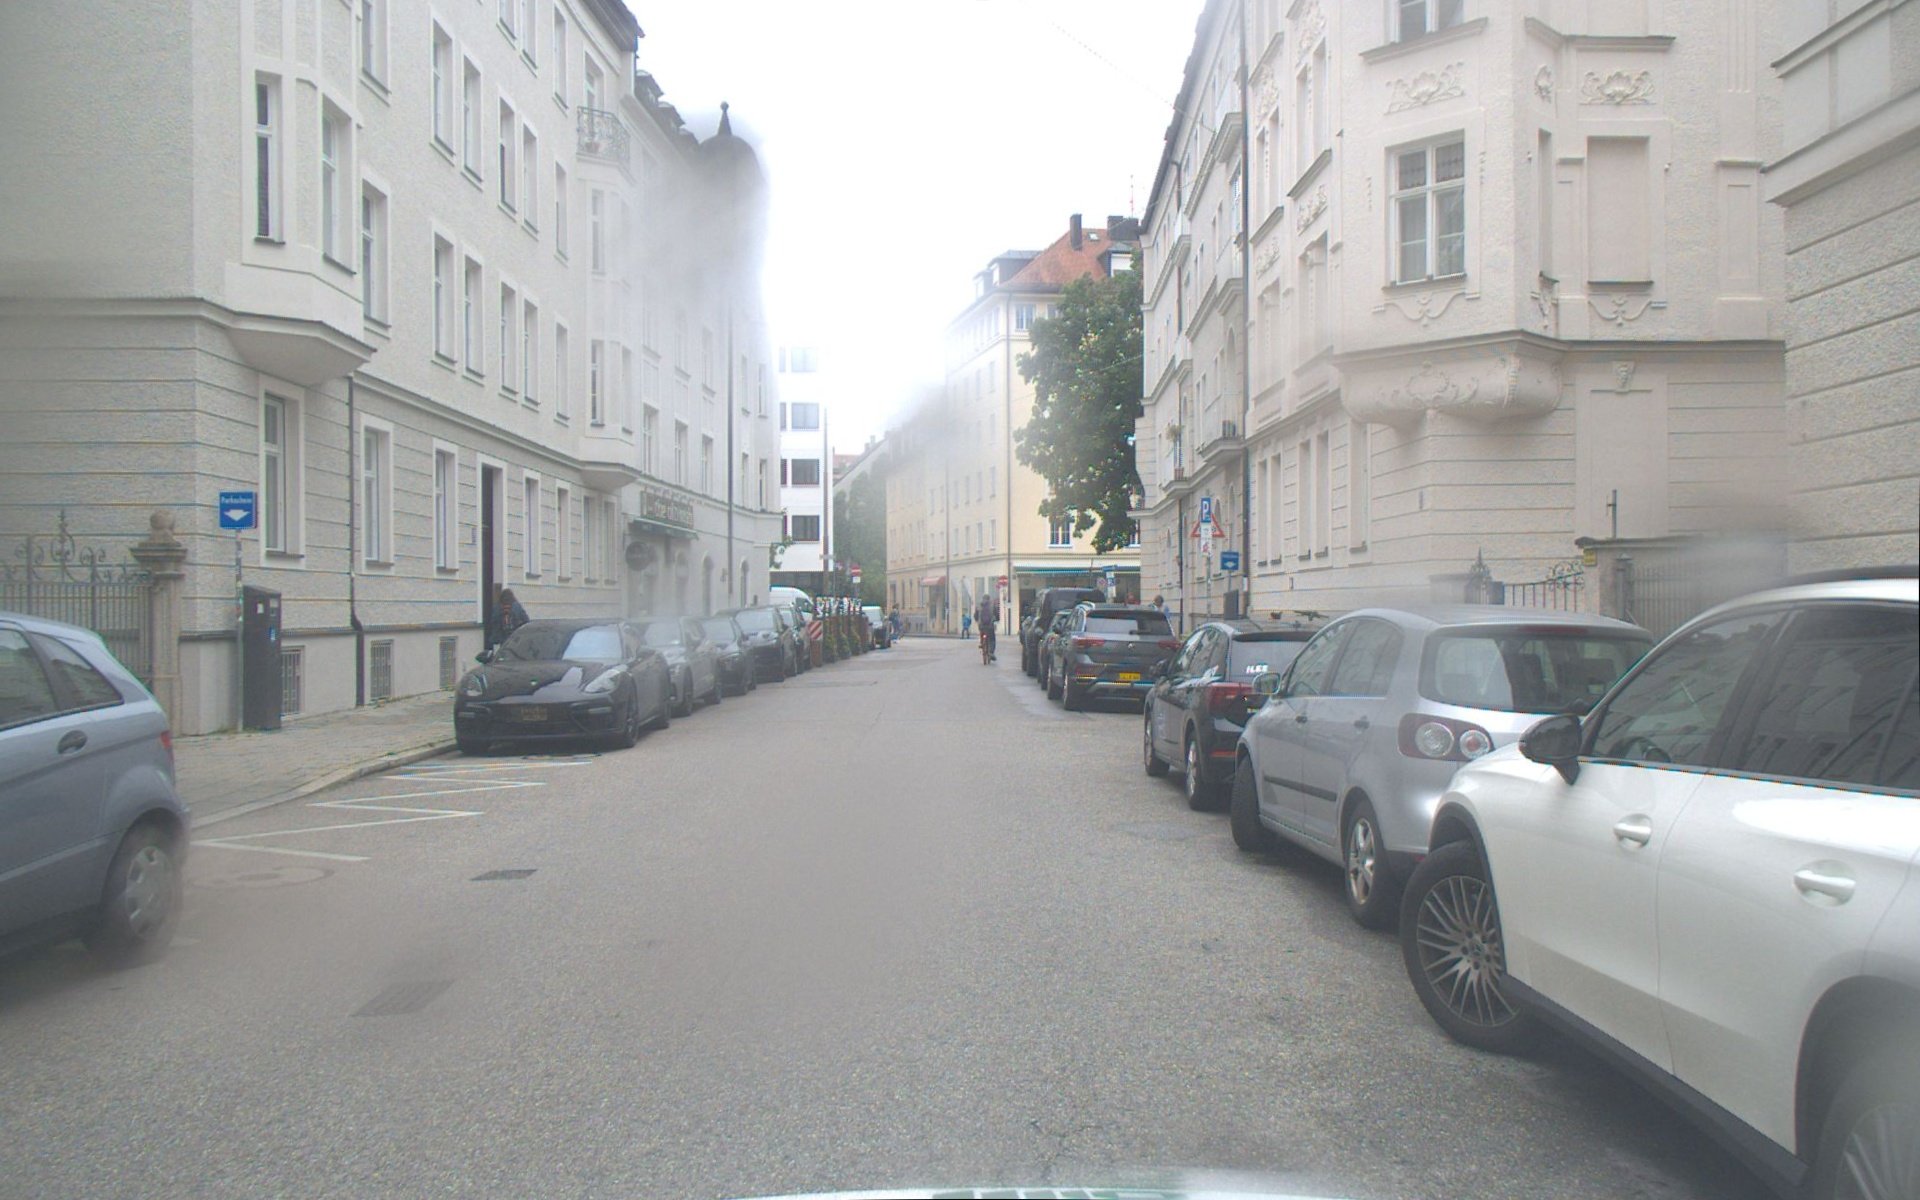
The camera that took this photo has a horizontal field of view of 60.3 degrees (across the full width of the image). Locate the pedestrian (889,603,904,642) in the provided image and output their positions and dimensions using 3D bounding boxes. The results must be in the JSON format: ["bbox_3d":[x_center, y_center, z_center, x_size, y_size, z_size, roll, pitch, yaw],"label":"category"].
[{"bbox_3d":[-2.764,0.981,72.229,0.598,1.690,0.551,-1,-1,4],"label":"pedestrian"}]

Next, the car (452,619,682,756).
[{"bbox_3d":[-4.534,0.945,19.794,1.812,1.391,4.699,-1,0,-3],"label":"car"}]

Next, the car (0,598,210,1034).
[{"bbox_3d":[-4.409,0.844,5.776,1.662,1.608,4.061,-3,0,0],"label":"car"}]

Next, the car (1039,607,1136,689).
[{"bbox_3d":[2.352,0.872,31.171,1.629,1.420,3.582,1,-1,2],"label":"car"}]

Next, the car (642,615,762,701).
[{"bbox_3d":[-4.721,1.015,30.781,1.775,1.409,4.440,-2,0,-4],"label":"car"}]

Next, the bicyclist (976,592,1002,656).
[{"bbox_3d":[0.752,0.625,42.854,0.593,1.635,0.758,-1,0,4],"label":"bicyclist"}]

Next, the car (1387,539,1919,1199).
[{"bbox_3d":[2.562,0.706,4.191,1.856,1.665,4.391,-1,0,1],"label":"car"}]

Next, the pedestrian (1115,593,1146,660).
[{"bbox_3d":[4.591,0.705,44.592,0.689,1.758,0.703,-2,-1,-3],"label":"pedestrian"}]

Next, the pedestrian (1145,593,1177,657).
[{"bbox_3d":[5.473,0.682,45.069,0.666,1.703,0.654,-3,0,-3],"label":"pedestrian"}]

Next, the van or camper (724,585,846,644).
[{"bbox_3d":[-8.519,0.723,80.328,5.794,2.724,1.869,-1,-2,-8],"label":"van or camper"}]

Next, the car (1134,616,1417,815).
[{"bbox_3d":[2.531,0.870,14.150,1.579,1.419,3.999,1,0,-1],"label":"car"}]

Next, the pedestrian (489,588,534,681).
[{"bbox_3d":[-8.497,0.641,31.351,0.683,1.737,0.665,0,-1,-3],"label":"pedestrian"}]

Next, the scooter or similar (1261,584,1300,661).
[{"bbox_3d":[5.641,0.389,29.150,0.529,1.310,1.504,-3,-1,7],"label":"scooter or similar"}]

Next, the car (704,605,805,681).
[{"bbox_3d":[-4.356,0.877,35.580,1.706,1.513,4.180,-1,0,-1],"label":"car"}]

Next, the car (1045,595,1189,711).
[{"bbox_3d":[2.321,0.752,25.382,1.673,1.615,3.998,1,0,-2],"label":"car"}]

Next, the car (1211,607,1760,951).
[{"bbox_3d":[2.665,0.815,9.404,1.674,1.527,3.997,0,-1,-3],"label":"car"}]

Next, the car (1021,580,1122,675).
[{"bbox_3d":[2.416,0.594,36.975,1.872,1.918,4.713,2,0,0],"label":"car"}]

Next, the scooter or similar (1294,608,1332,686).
[{"bbox_3d":[6.206,0.815,29.109,0.496,1.310,1.352,-3,-1,8],"label":"scooter or similar"}]

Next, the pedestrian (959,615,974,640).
[{"bbox_3d":[0.343,1.453,86.722,0.684,1.293,0.651,-1,-1,4],"label":"pedestrian"}]

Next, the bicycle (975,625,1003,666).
[{"bbox_3d":[0.759,1.172,42.823,0.626,1.022,1.575,-1,-1,4],"label":"bicycle"}]

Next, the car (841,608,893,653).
[{"bbox_3d":[-3.581,1.192,64.304,1.642,1.625,3.945,-3,-1,1],"label":"car"}]

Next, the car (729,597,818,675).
[{"bbox_3d":[-4.508,0.848,40.466,1.711,1.702,4.274,-4,0,-1],"label":"car"}]

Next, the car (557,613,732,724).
[{"bbox_3d":[-4.698,0.982,25.258,1.758,1.444,4.510,-3,-1,0],"label":"car"}]
